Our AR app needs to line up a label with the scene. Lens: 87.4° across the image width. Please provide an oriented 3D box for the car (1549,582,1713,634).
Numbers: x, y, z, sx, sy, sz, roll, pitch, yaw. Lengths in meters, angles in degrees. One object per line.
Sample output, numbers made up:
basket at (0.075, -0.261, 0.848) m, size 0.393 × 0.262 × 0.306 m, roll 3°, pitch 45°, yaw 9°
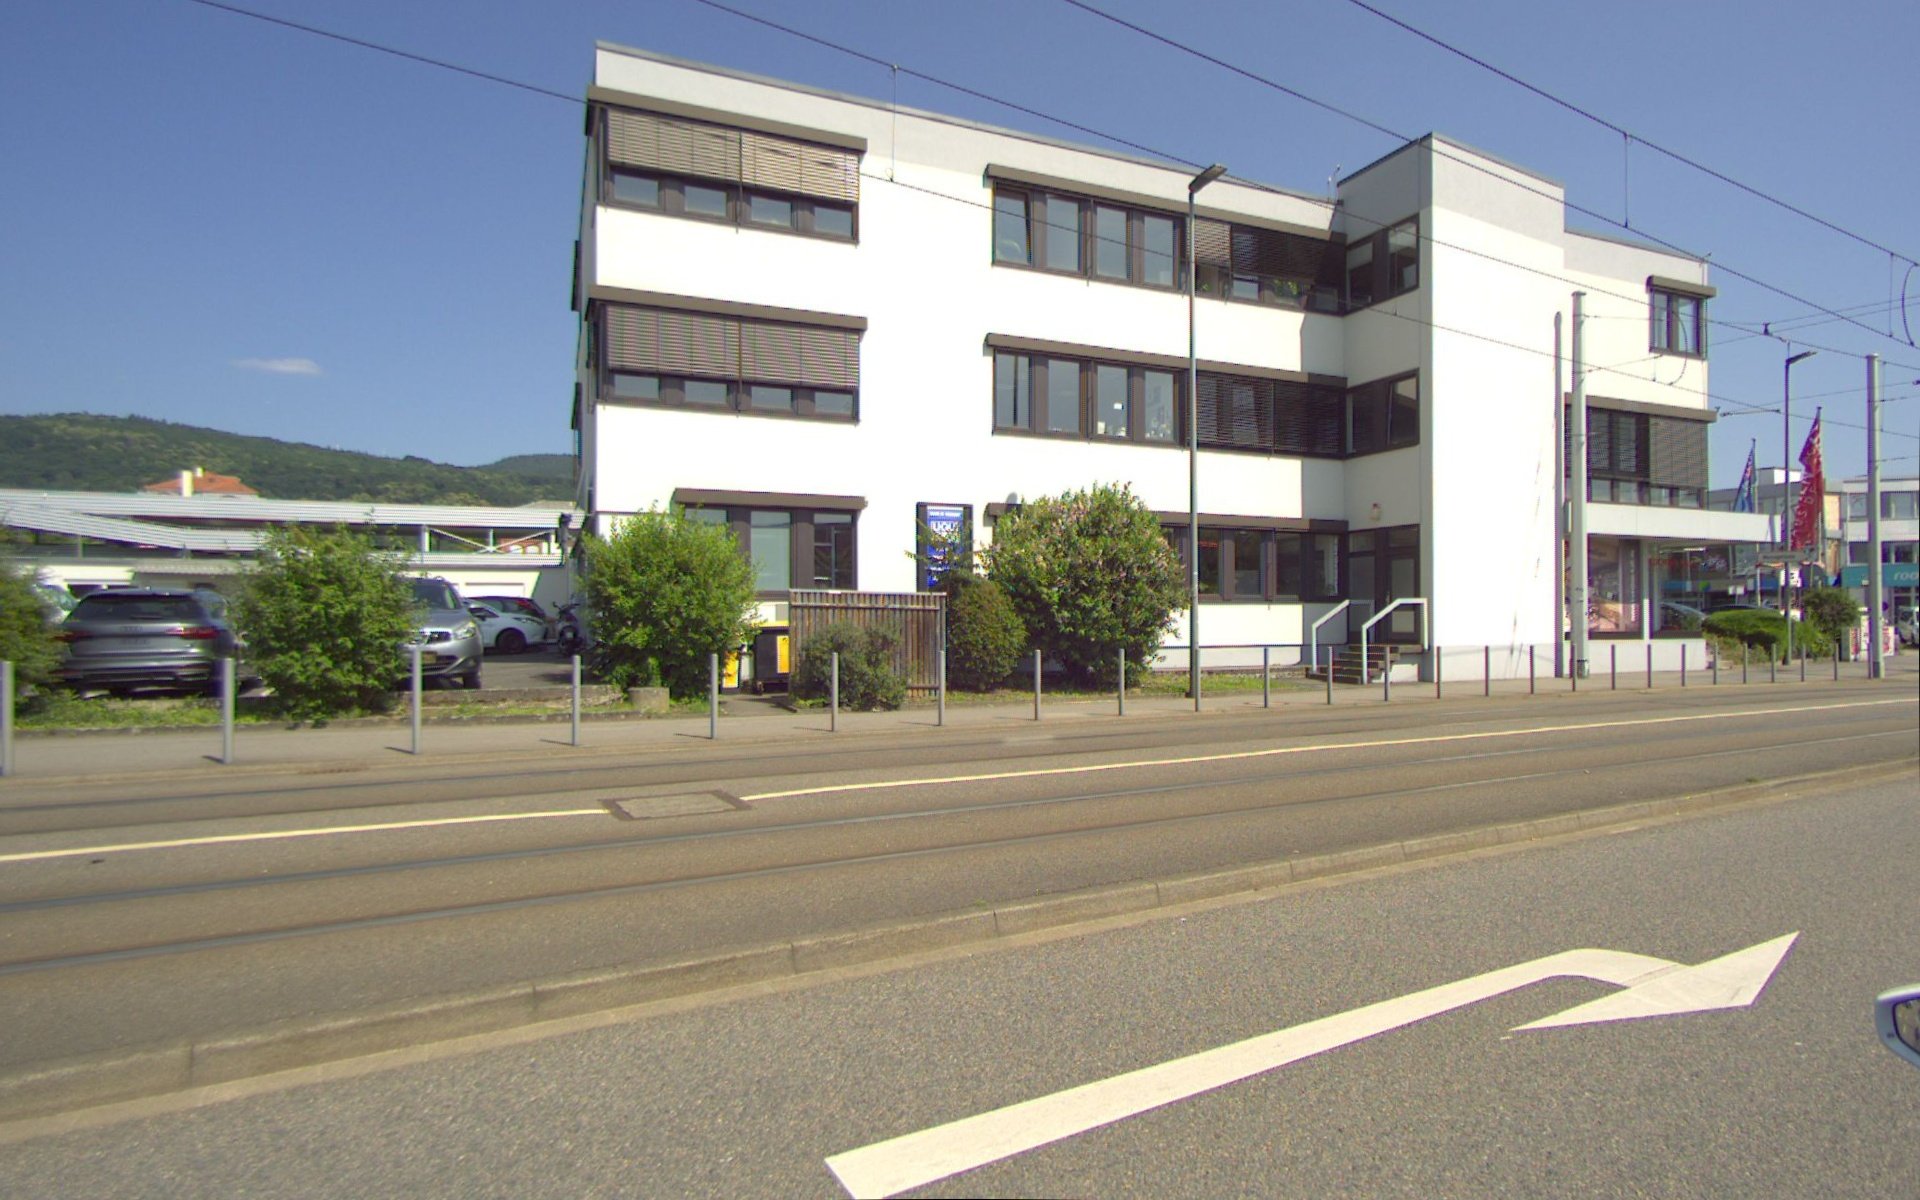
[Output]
car at (21.557, 0.263, 32.424) m, size 1.974 × 1.584 × 3.974 m, roll 1°, pitch -1°, yaw -26°

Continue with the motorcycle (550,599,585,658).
motorcycle at (-8.179, 0.580, 20.898) m, size 0.530 × 1.149 × 1.700 m, roll -3°, pitch 1°, yaw -25°

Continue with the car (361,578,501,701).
car at (-7.754, 0.516, 14.577) m, size 1.459 × 1.549 × 3.602 m, roll 1°, pitch -1°, yaw -33°

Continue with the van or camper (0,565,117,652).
van or camper at (-26.260, 0.235, 27.497) m, size 4.542 × 2.336 × 1.769 m, roll 1°, pitch 0°, yaw -27°

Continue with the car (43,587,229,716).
car at (-10.552, 0.593, 13.070) m, size 1.533 × 1.441 × 3.366 m, roll 1°, pitch -1°, yaw -34°

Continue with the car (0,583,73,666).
car at (-25.500, 0.594, 25.101) m, size 4.517 × 2.040 × 2.046 m, roll 1°, pitch -1°, yaw -25°

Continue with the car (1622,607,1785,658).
car at (25.020, 1.033, 33.954) m, size 1.974 × 1.539 × 3.973 m, roll -2°, pitch 1°, yaw -26°

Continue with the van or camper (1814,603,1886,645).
van or camper at (47.207, 1.231, 53.381) m, size 1.965 × 2.040 × 4.752 m, roll -1°, pitch 1°, yaw 30°

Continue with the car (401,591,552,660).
car at (-11.358, 0.574, 23.793) m, size 3.087 × 1.446 × 1.414 m, roll -2°, pitch 1°, yaw -23°

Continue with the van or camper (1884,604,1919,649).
van or camper at (48.630, 1.293, 50.681) m, size 1.965 × 2.040 × 4.752 m, roll -1°, pitch 1°, yaw 30°

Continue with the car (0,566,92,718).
car at (-12.418, 0.473, 12.166) m, size 1.975 × 1.728 × 3.971 m, roll 1°, pitch -1°, yaw -28°

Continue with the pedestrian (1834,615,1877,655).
pedestrian at (34.057, 1.330, 38.210) m, size 0.830 × 1.474 × 1.121 m, roll 1°, pitch -1°, yaw -38°
